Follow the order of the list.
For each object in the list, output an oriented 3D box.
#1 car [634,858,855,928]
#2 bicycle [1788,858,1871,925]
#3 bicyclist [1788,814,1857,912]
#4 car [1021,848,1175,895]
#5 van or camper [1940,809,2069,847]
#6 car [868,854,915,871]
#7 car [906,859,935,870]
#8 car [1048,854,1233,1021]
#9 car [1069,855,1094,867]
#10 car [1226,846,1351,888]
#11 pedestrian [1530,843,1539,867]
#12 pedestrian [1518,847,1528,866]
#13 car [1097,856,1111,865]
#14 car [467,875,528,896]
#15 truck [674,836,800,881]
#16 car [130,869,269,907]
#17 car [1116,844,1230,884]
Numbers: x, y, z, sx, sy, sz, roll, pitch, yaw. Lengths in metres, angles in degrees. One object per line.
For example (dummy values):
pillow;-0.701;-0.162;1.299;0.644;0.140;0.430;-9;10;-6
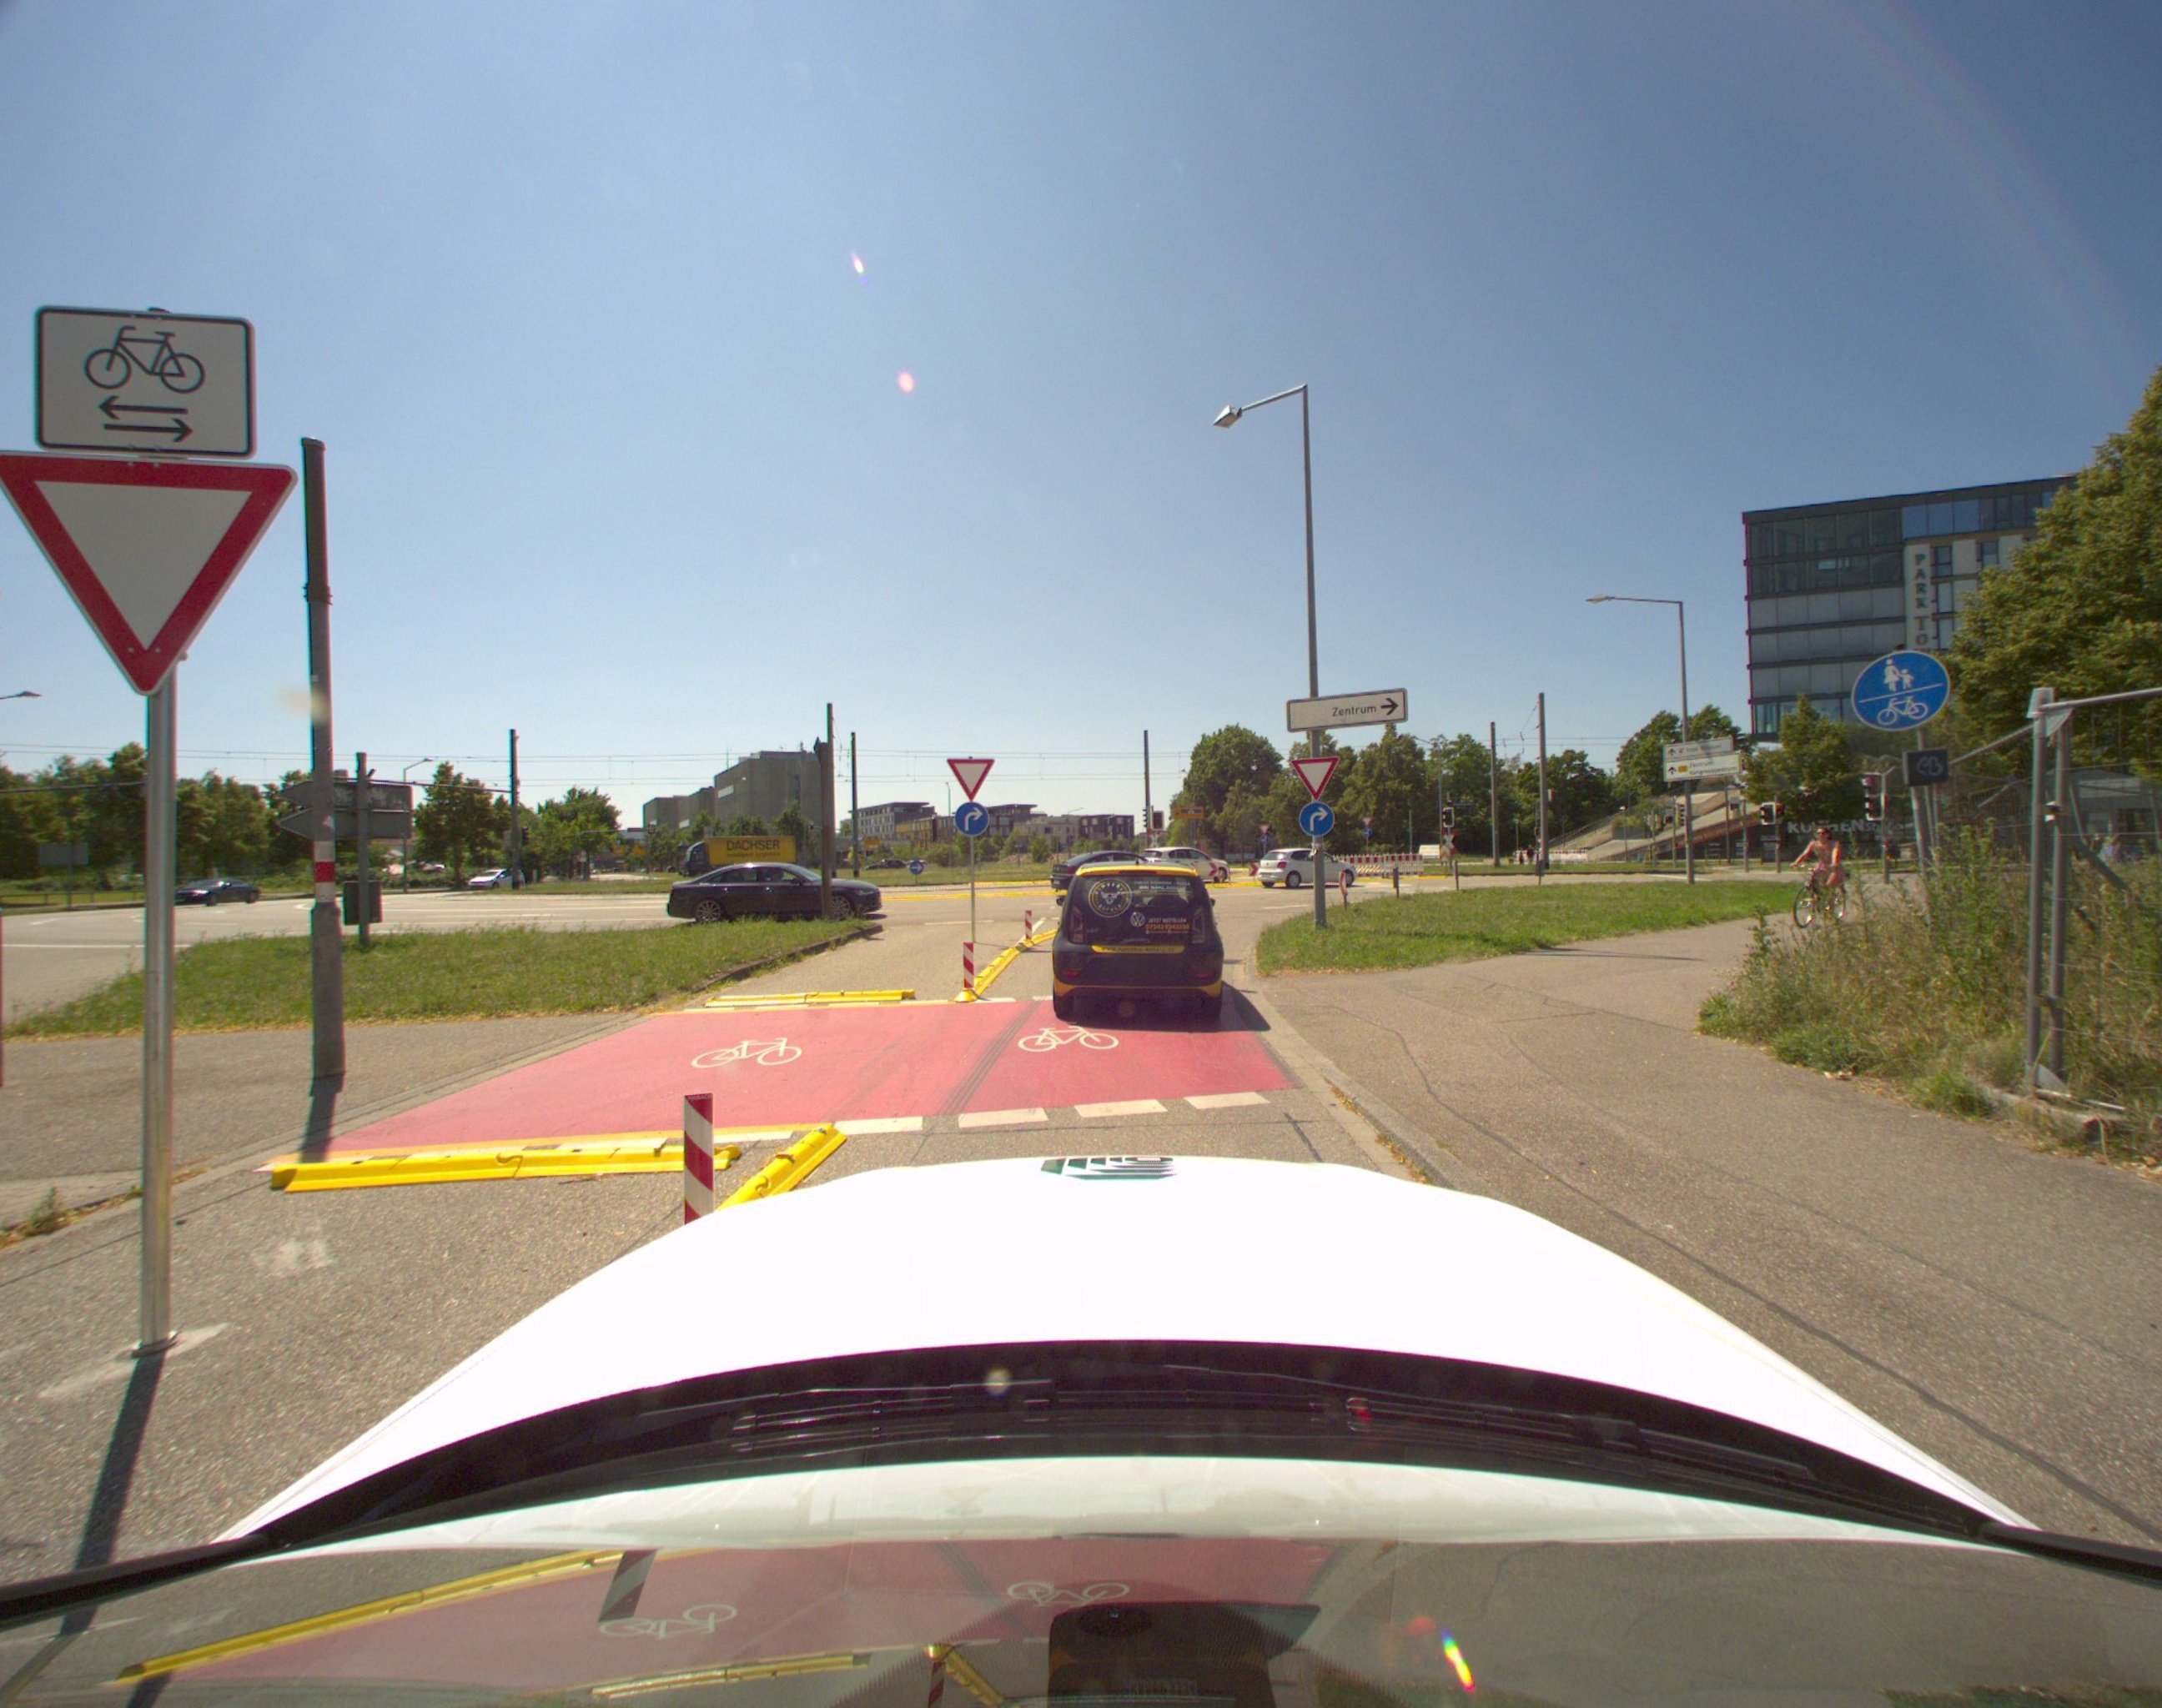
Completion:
car;-8.060;0.896;19.958;4.636;1.449;1.993;-2;0;-11
bicycle;13.015;0.626;14.147;2.095;1.058;0.435;-1;-1;-30
bicyclist;12.863;0.156;14.140;0.712;1.664;0.640;-1;-2;-30
car;0.565;0.536;27.068;4.766;1.449;1.984;0;0;-25
van or camper;73.750;-2.023;65.161;6.721;2.822;2.390;-1;0;11
car;-17.743;0.822;76.288;4.051;1.461;1.717;-1;0;-21
car;-17.313;1.148;87.864;2.874;1.155;1.206;-1;0;2
car;0.561;0.734;9.137;1.613;1.451;3.987;0;0;1
car;0.085;0.870;99.712;1.752;1.344;3.340;-1;0;23
car;7.779;0.457;30.471;4.358;1.449;1.841;0;0;-25
pedestrian;33.599;0.071;60.339;0.444;1.739;0.292;-1;0;13
pedestrian;32.401;0.190;59.711;0.517;1.429;0.353;-2;0;10
car;3.300;0.912;116.370;1.484;1.089;3.528;-1;0;8
car;-45.837;2.469;64.102;1.820;1.454;5.008;-1;0;-9
truck;-29.635;0.306;70.529;9.662;3.659;2.677;-2;0;-38
car;-44.145;1.656;40.994;1.849;1.436;4.948;0;3;-5
car;3.803;0.371;33.598;4.382;1.486;1.980;-2;0;-32
